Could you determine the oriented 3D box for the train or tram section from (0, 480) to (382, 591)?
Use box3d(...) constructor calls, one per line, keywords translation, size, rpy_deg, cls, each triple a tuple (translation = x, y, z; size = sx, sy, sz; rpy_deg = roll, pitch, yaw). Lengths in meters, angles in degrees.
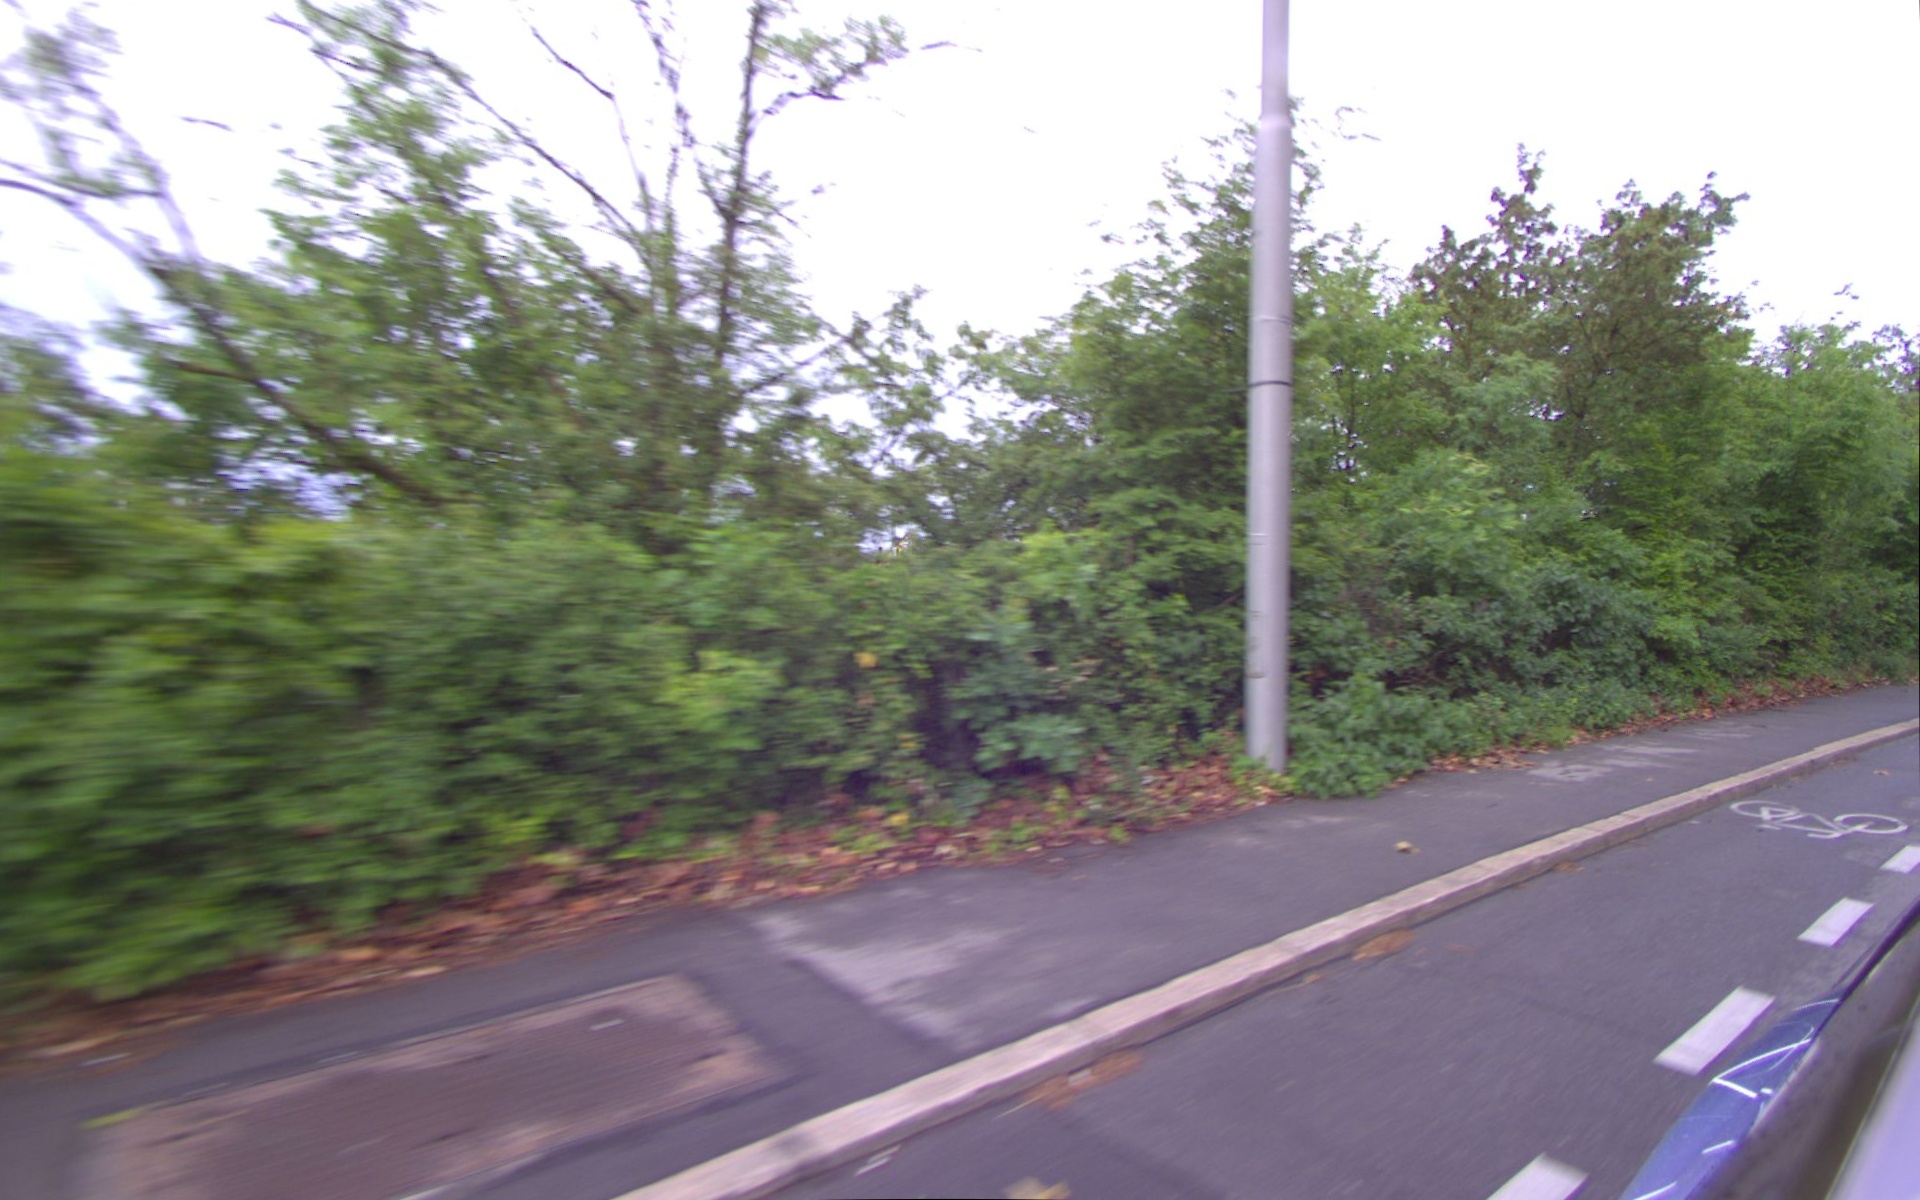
box3d(translation=(-35.316, -2.623, 43.214), size=(18.167, 3.879, 3.202), rpy_deg=(2, -2, -43), cls="train or tram section")
